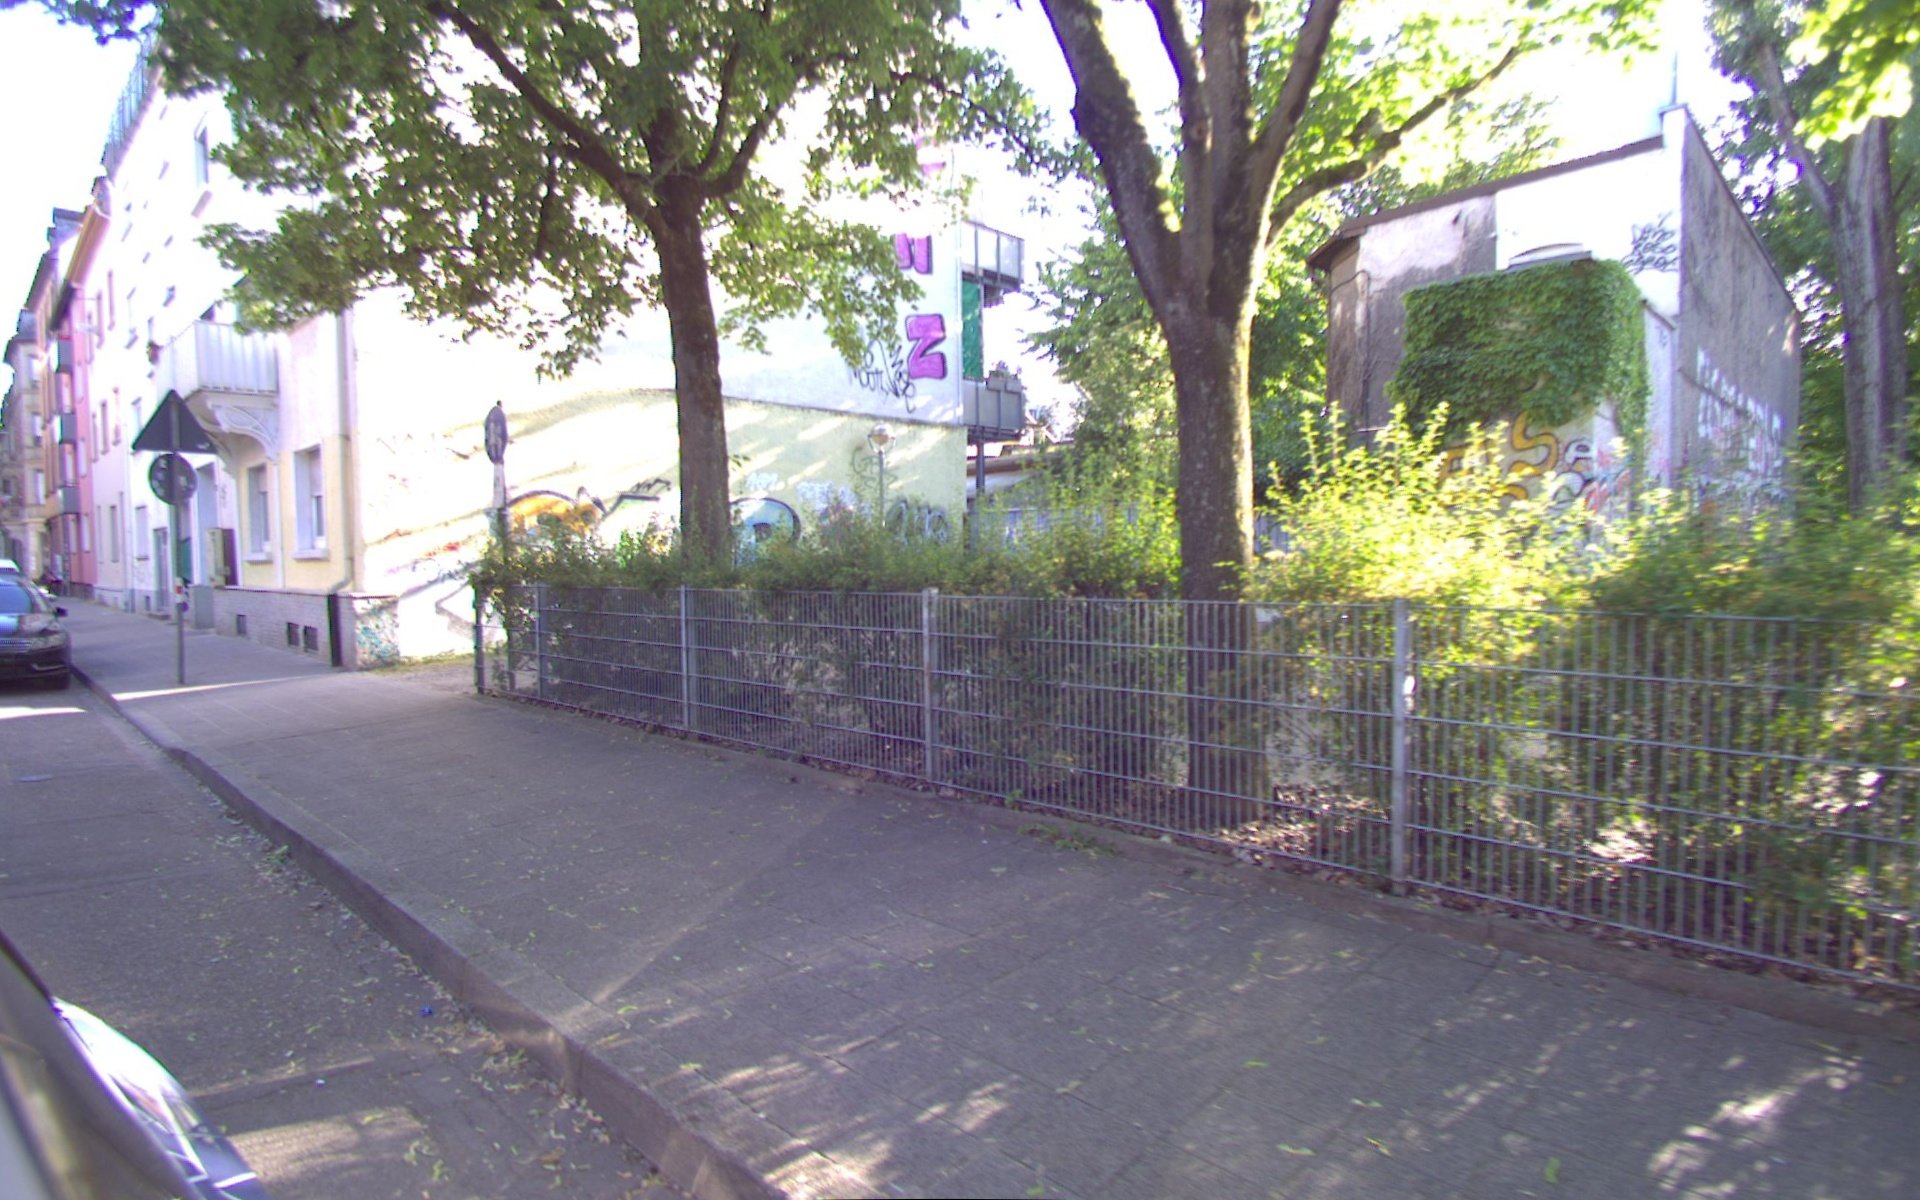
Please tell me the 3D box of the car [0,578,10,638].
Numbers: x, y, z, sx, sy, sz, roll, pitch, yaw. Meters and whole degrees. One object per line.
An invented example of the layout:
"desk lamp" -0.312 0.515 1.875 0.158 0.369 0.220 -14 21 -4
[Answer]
"car" -25.936 0.179 26.222 1.650 1.539 4.092 1 0 -40

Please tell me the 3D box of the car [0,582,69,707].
"car" -13.053 0.490 13.247 4.394 1.454 1.759 2 0 44

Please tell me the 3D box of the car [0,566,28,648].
"car" -22.387 0.099 22.786 4.316 1.754 1.730 2 0 43

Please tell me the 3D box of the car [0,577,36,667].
"car" -17.166 0.324 17.566 1.574 1.461 3.489 1 0 -44
